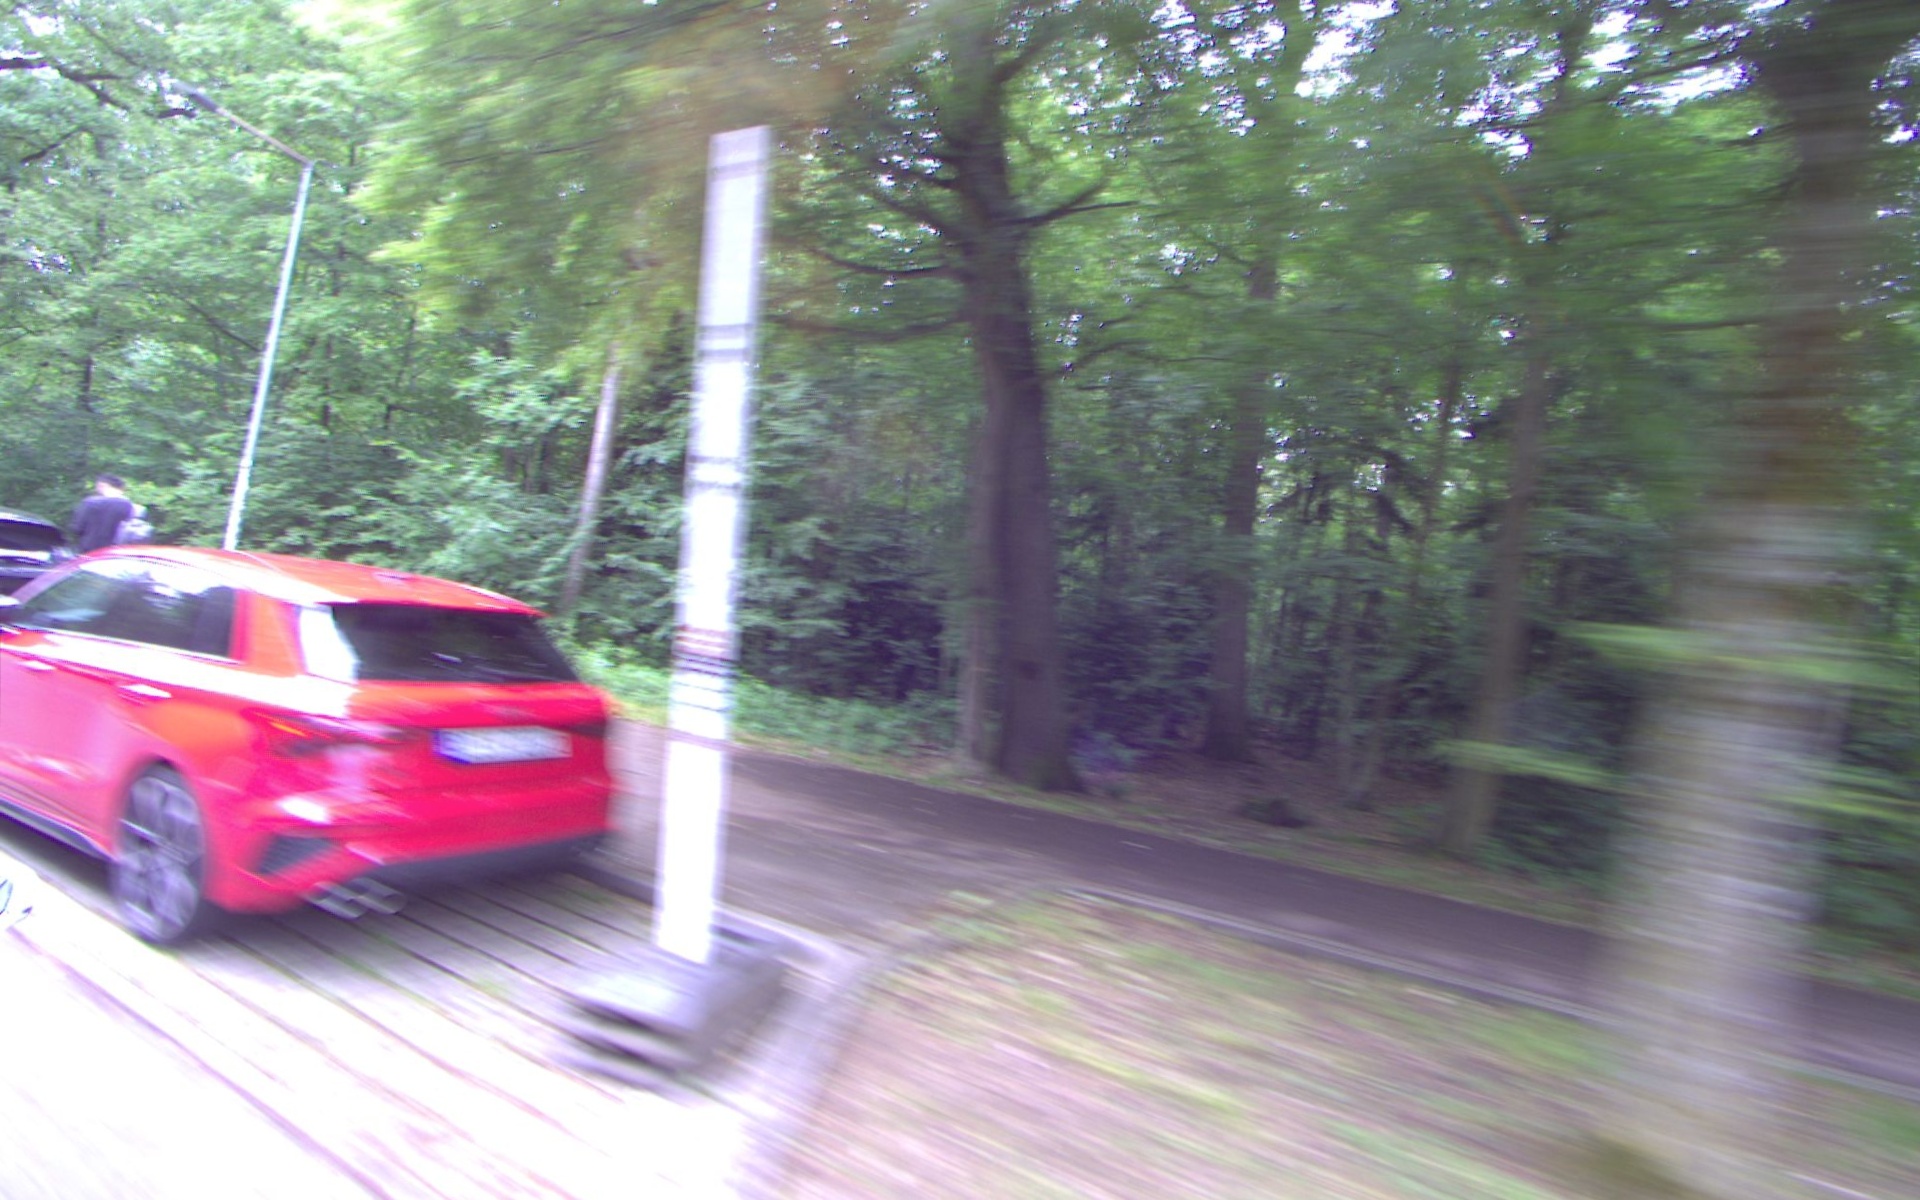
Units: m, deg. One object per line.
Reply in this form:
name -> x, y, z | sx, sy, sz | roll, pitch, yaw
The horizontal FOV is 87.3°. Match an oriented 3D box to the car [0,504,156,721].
car -> -8.233, -0.136, 7.704 | 4.211, 1.439, 1.730 | 7, -2, 30

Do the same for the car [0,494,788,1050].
car -> -3.478, 0.425, 5.057 | 4.887, 1.496, 1.999 | 7, -2, 30

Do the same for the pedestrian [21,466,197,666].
pedestrian -> -8.198, -0.318, 9.704 | 0.987, 1.745, 0.819 | 7, -2, 30
